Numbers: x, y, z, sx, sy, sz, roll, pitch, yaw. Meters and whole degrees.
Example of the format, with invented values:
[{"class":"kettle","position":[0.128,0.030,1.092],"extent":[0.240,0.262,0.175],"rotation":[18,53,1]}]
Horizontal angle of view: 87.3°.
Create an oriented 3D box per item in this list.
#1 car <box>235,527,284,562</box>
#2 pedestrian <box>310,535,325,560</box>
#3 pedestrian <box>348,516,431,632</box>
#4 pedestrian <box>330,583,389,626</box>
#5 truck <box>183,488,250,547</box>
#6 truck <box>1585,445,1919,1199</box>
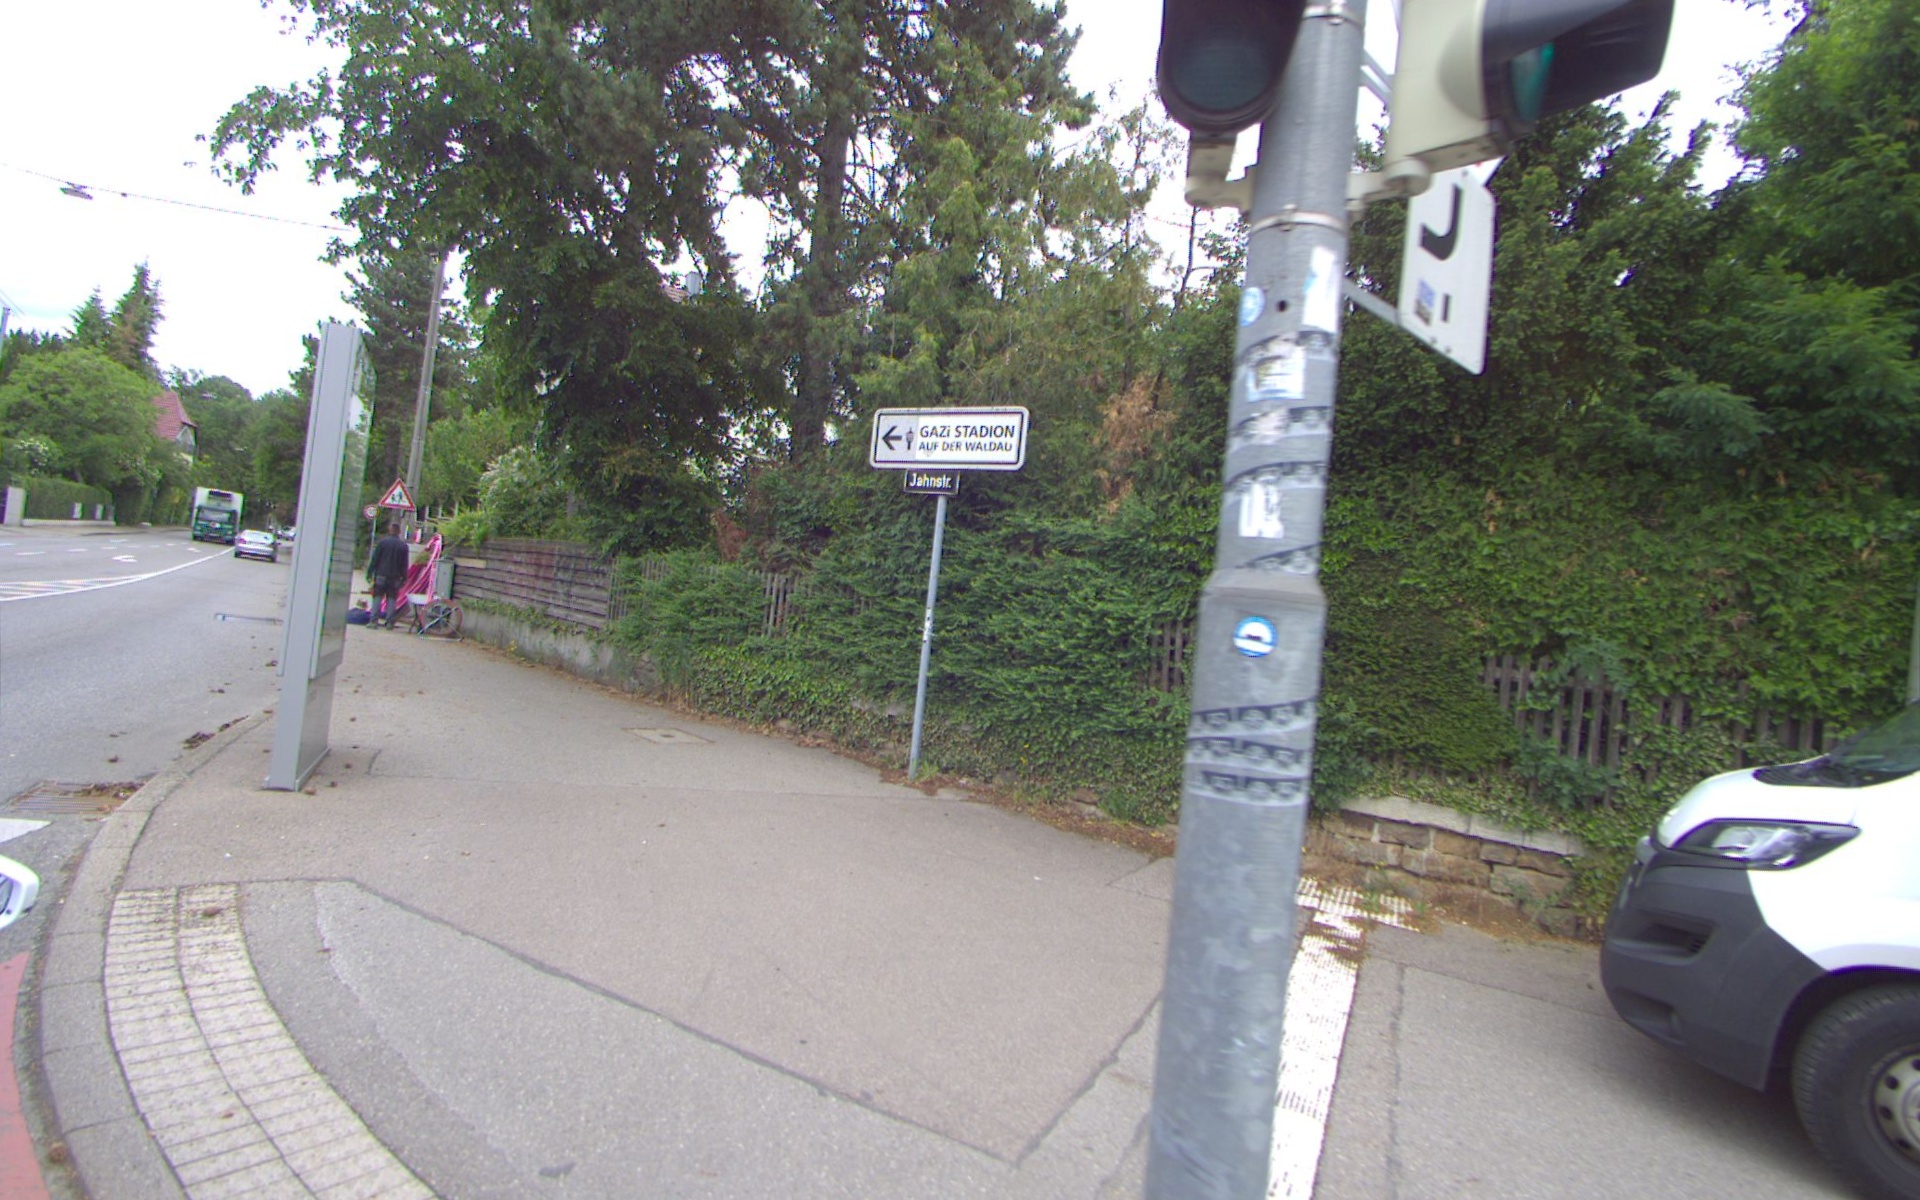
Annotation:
[{"class":"car","position":[-35.101,-2.768,50.477],"extent":[1.786,1.431,4.297],"rotation":[8,-2,-34]},{"class":"pedestrian","position":[-50.038,-4.107,78.373],"extent":[0.802,1.829,0.734],"rotation":[7,0,-35]},{"class":"pedestrian","position":[-10.221,-0.460,18.034],"extent":[0.789,1.947,0.846],"rotation":[7,0,36]},{"class":"pedestrian","position":[-11.153,0.087,18.694],"extent":[0.574,0.705,0.647],"rotation":[7,0,15]},{"class":"truck","position":[-51.213,-5.627,69.223],"extent":[2.768,3.501,7.408],"rotation":[8,-2,-41]},{"class":"truck","position":[5.472,0.980,2.748],"extent":[6.094,2.379,2.397],"rotation":[5,-1,36]}]
